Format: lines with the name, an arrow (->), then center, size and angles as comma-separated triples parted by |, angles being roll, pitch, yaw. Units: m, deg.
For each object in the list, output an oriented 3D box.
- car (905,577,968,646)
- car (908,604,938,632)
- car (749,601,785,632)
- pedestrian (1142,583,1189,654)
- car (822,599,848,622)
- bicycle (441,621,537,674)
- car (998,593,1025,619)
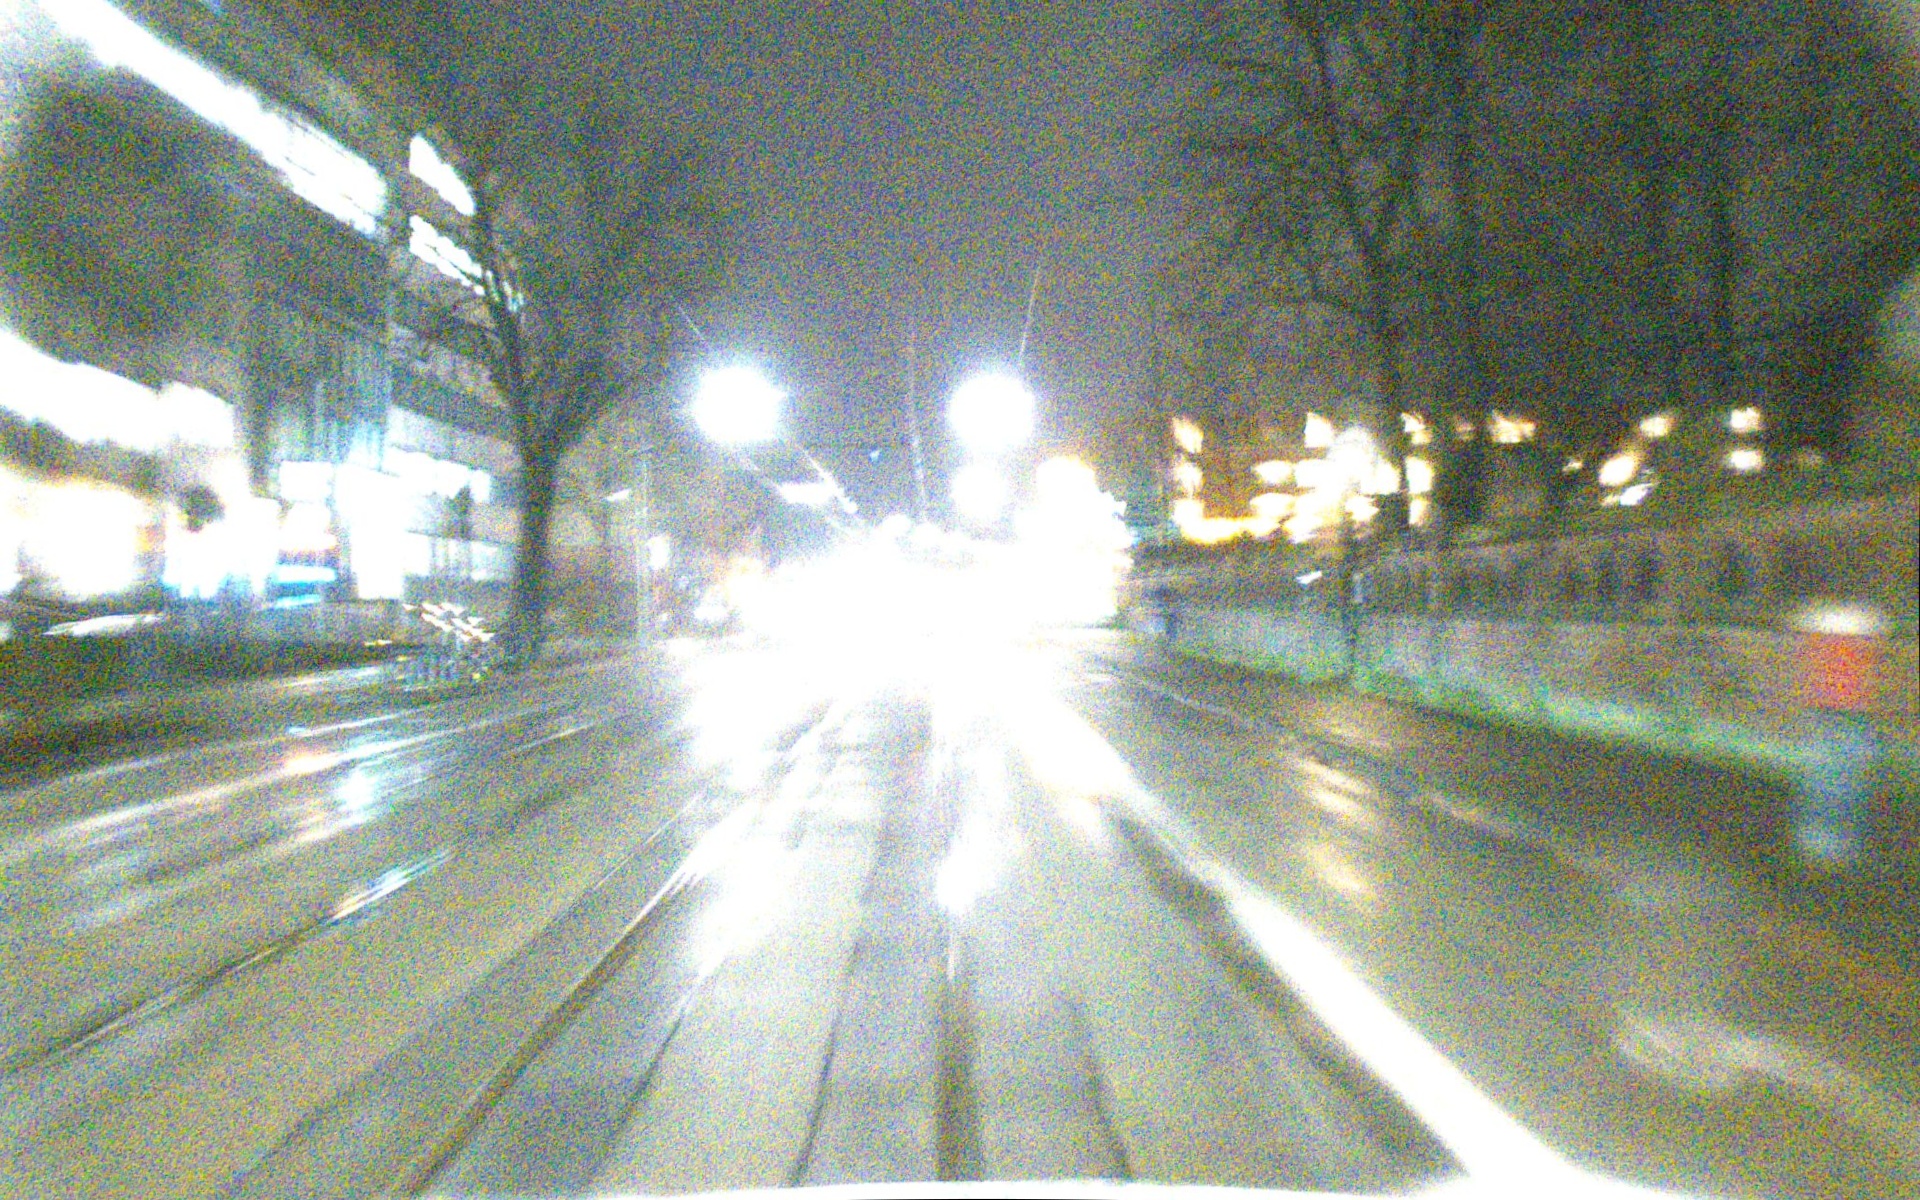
car -> -0.881, 0.404, 59.287 | 2.199, 2.402, 4.392 | 0, 0, -2
car -> -2.508, 1.186, 111.087 | 1.953, 1.847, 3.999 | 0, 0, -2
car -> -13.036, 1.086, 111.957 | 1.953, 2.049, 4.000 | 0, 0, 0
pedestrian -> 5.116, 0.460, 41.178 | 0.921, 1.693, 0.993 | -2, 0, -5
car -> -9.398, 0.776, 124.797 | 1.954, 1.754, 4.073 | 0, 0, -4
bicycle -> -9.770, 0.978, 34.358 | 1.816, 1.096, 0.627 | 0, 0, -1
car -> 4.059, 0.495, 131.335 | 1.953, 2.049, 3.999 | 0, 0, -1
